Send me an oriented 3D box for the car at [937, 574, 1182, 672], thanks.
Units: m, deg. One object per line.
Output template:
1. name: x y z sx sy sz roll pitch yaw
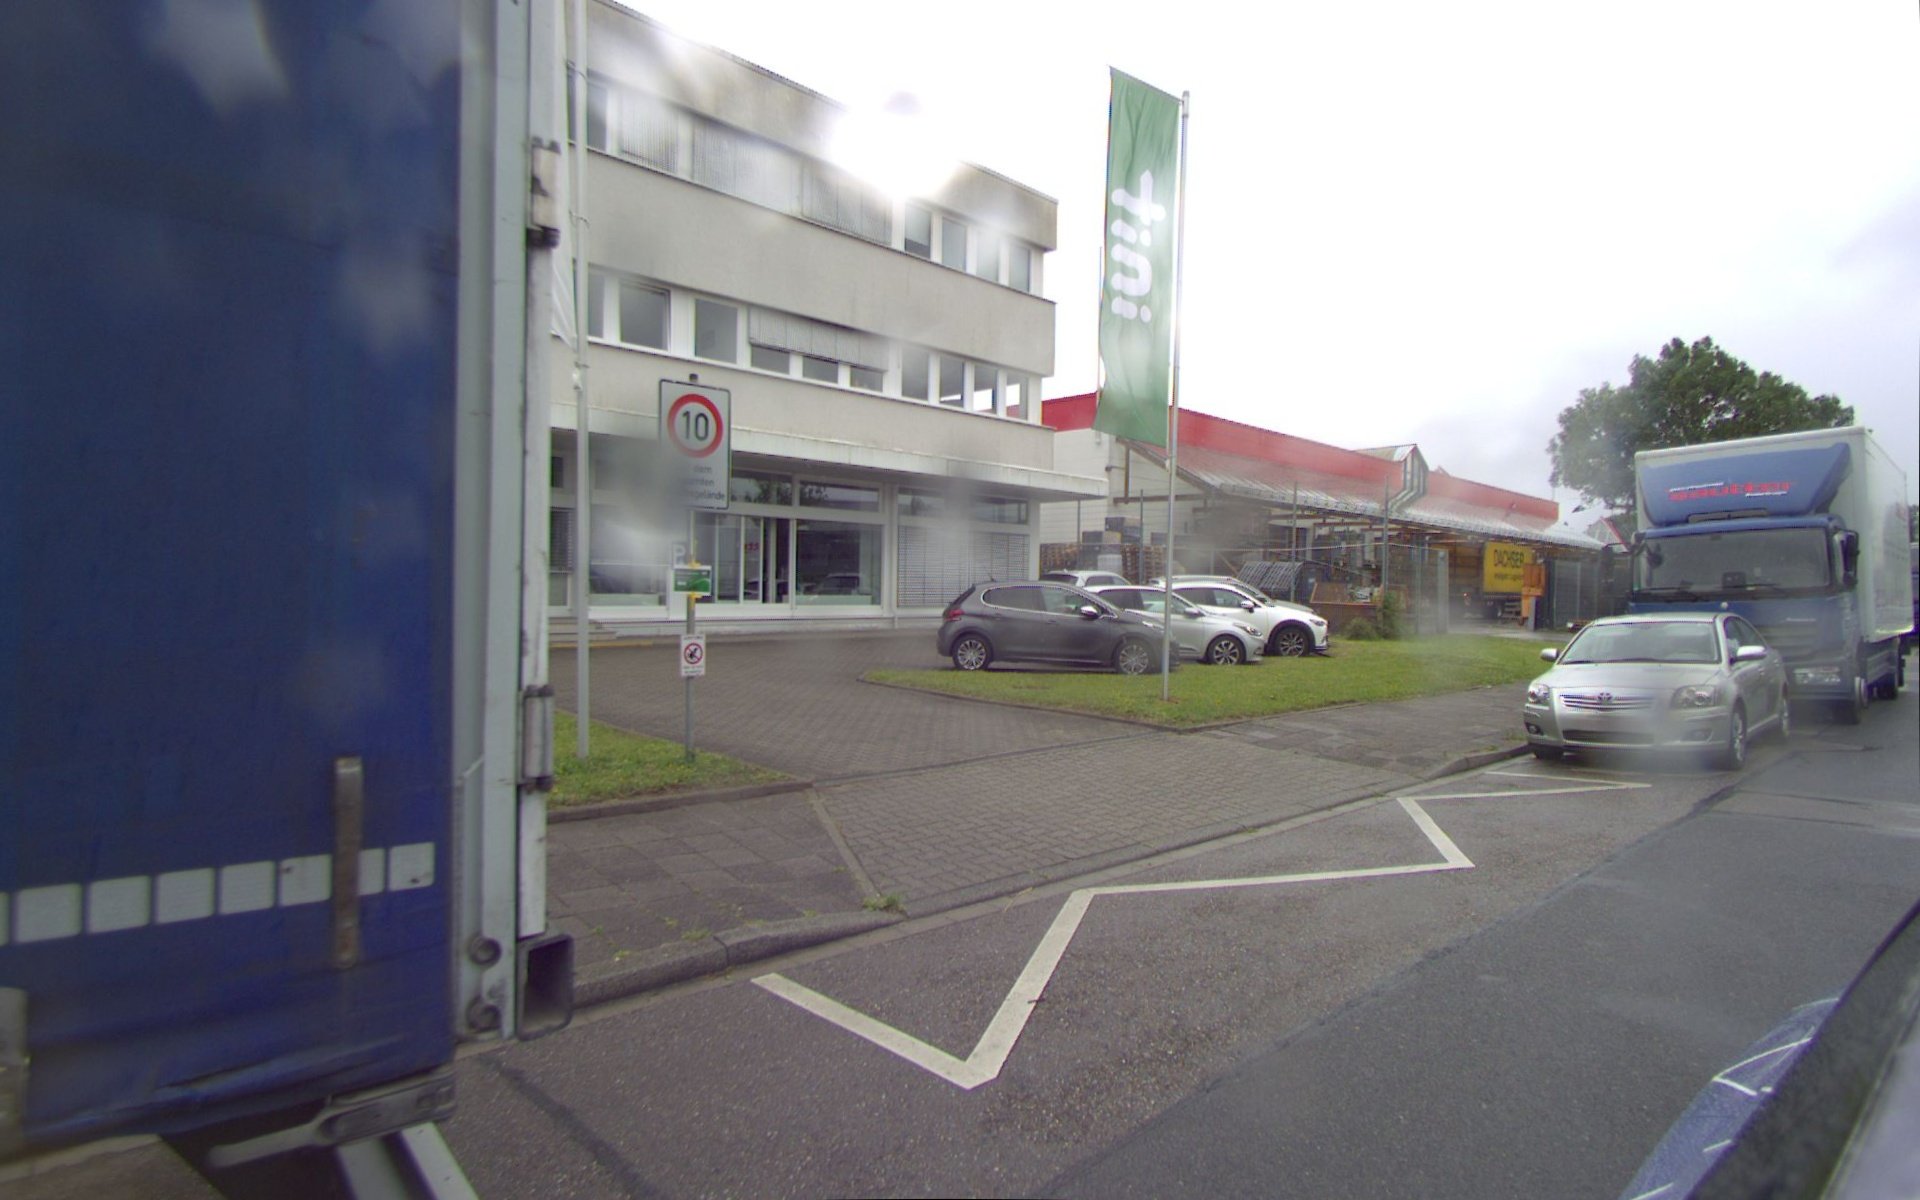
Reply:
1. car: 1.547 0.329 16.294 3.700 1.410 1.705 1 1 4

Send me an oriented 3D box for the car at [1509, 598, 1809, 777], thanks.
1. car: 7.493 0.733 10.664 4.273 1.459 1.799 0 2 -44

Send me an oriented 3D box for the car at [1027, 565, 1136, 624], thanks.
1. car: 3.145 -0.156 26.063 2.702 1.443 1.399 0 1 -44

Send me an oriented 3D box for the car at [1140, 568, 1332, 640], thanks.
1. car: 6.306 0.069 23.507 3.926 1.546 1.872 1 1 2

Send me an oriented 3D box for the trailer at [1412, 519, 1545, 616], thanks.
1. trailer: 25.533 -1.513 49.509 9.316 4.295 2.969 0 1 -45

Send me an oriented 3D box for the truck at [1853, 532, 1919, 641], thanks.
1. truck: 35.299 -0.461 37.456 7.876 3.739 2.673 0 -2 -44

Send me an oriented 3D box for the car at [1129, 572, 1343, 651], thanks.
1. car: 5.606 0.204 20.947 3.926 1.488 1.775 1 1 2

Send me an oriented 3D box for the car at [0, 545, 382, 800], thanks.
1. car: -6.671 0.353 8.132 1.755 1.486 4.682 1 1 -6

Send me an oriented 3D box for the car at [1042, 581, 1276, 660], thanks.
1. car: 3.519 0.341 18.464 3.926 1.302 1.706 1 1 2

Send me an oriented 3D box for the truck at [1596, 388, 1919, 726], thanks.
1. truck: 12.777 -0.477 15.641 9.143 3.838 2.743 0 -1 -44
